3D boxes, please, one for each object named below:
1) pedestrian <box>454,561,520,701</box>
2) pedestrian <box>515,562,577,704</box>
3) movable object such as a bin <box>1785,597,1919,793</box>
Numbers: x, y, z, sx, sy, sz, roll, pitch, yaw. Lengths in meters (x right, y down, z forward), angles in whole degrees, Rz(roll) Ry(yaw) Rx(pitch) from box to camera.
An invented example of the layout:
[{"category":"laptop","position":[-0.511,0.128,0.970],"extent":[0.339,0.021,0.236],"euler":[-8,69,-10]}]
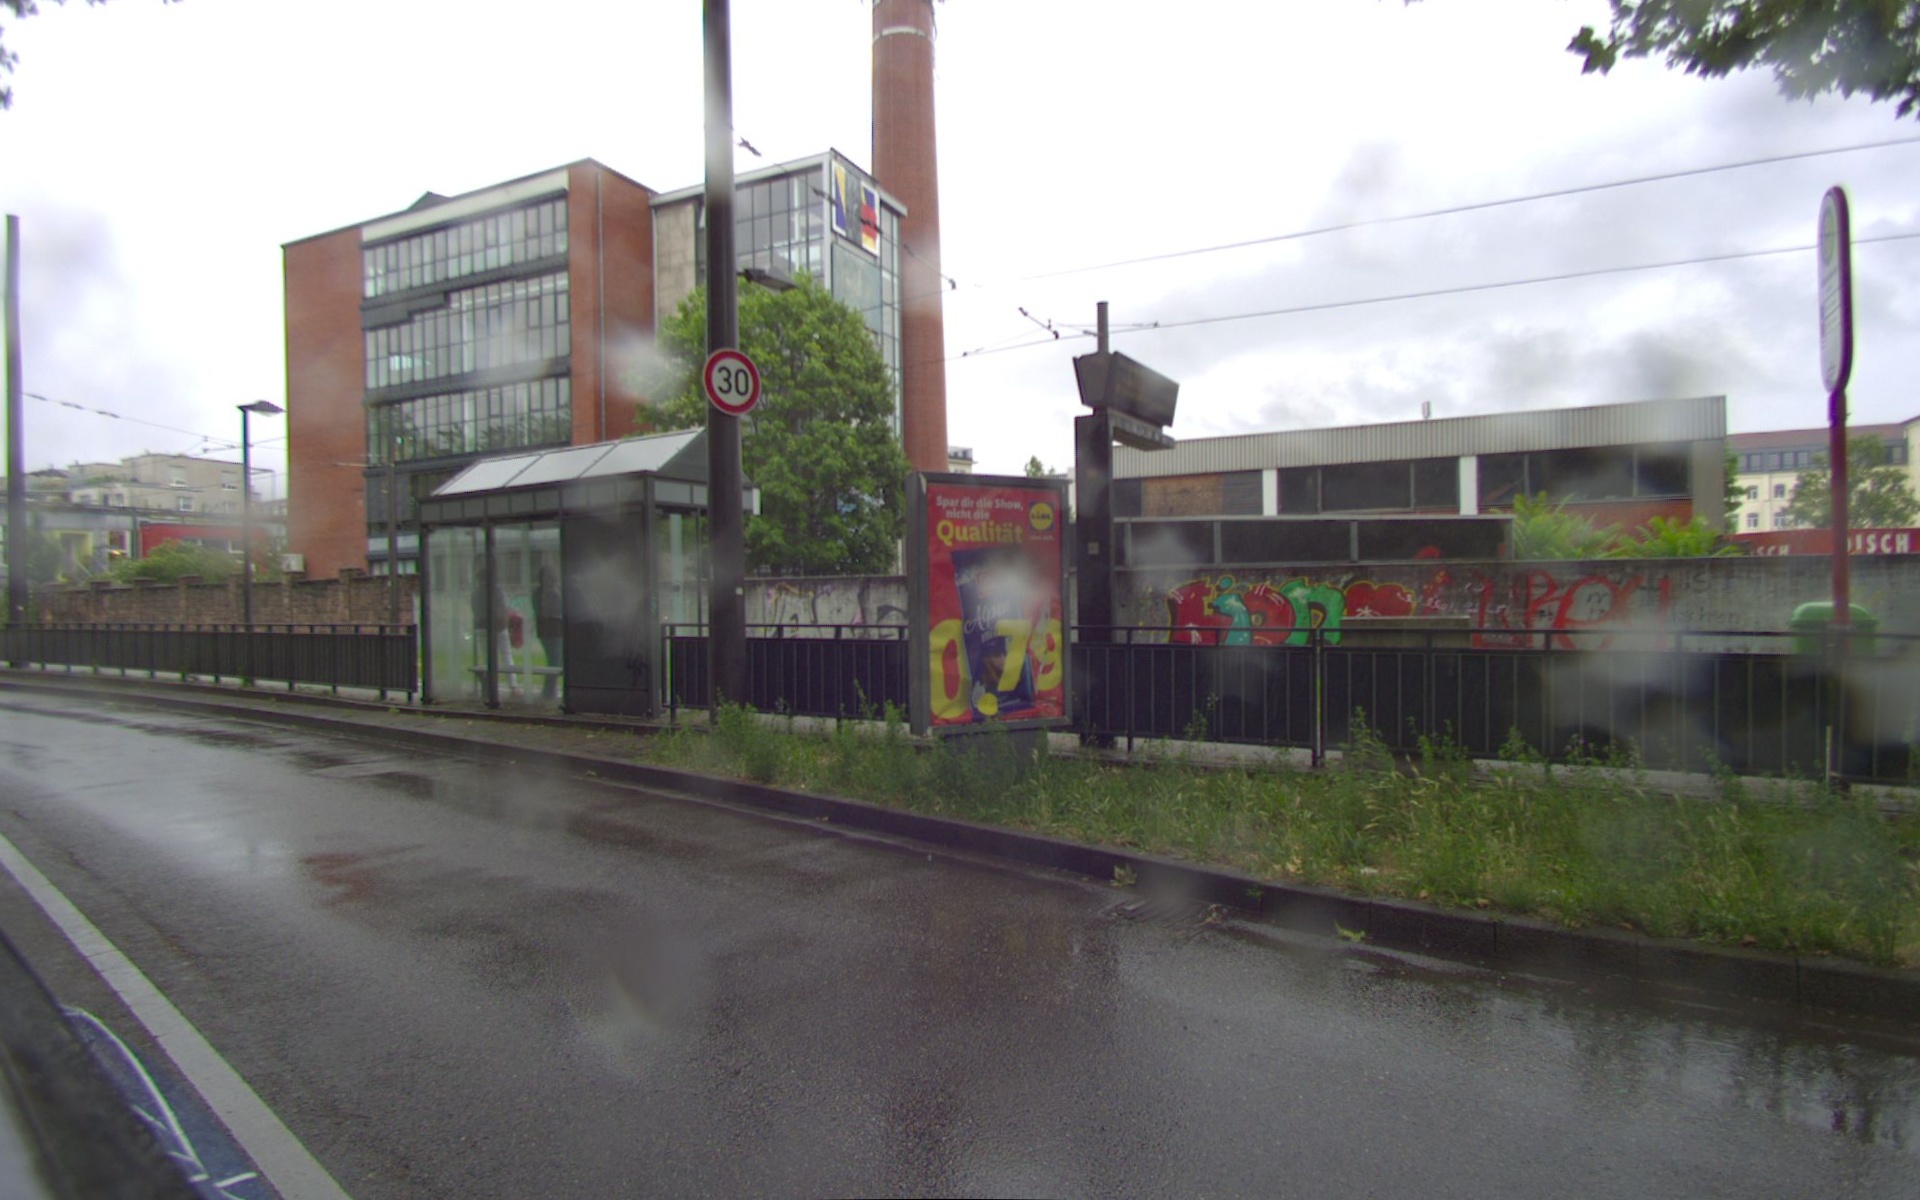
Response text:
[{"category":"pedestrian","position":[-6.022,0.397,12.905],"extent":[0.560,1.744,0.583],"euler":[0,-2,-1]},{"category":"pedestrian","position":[-5.206,0.406,12.748],"extent":[0.560,1.744,0.583],"euler":[0,-2,-3]},{"category":"movable object such as a bin","position":[5.275,0.542,5.964],"extent":[0.528,1.098,0.414],"euler":[-1,-2,25]}]
